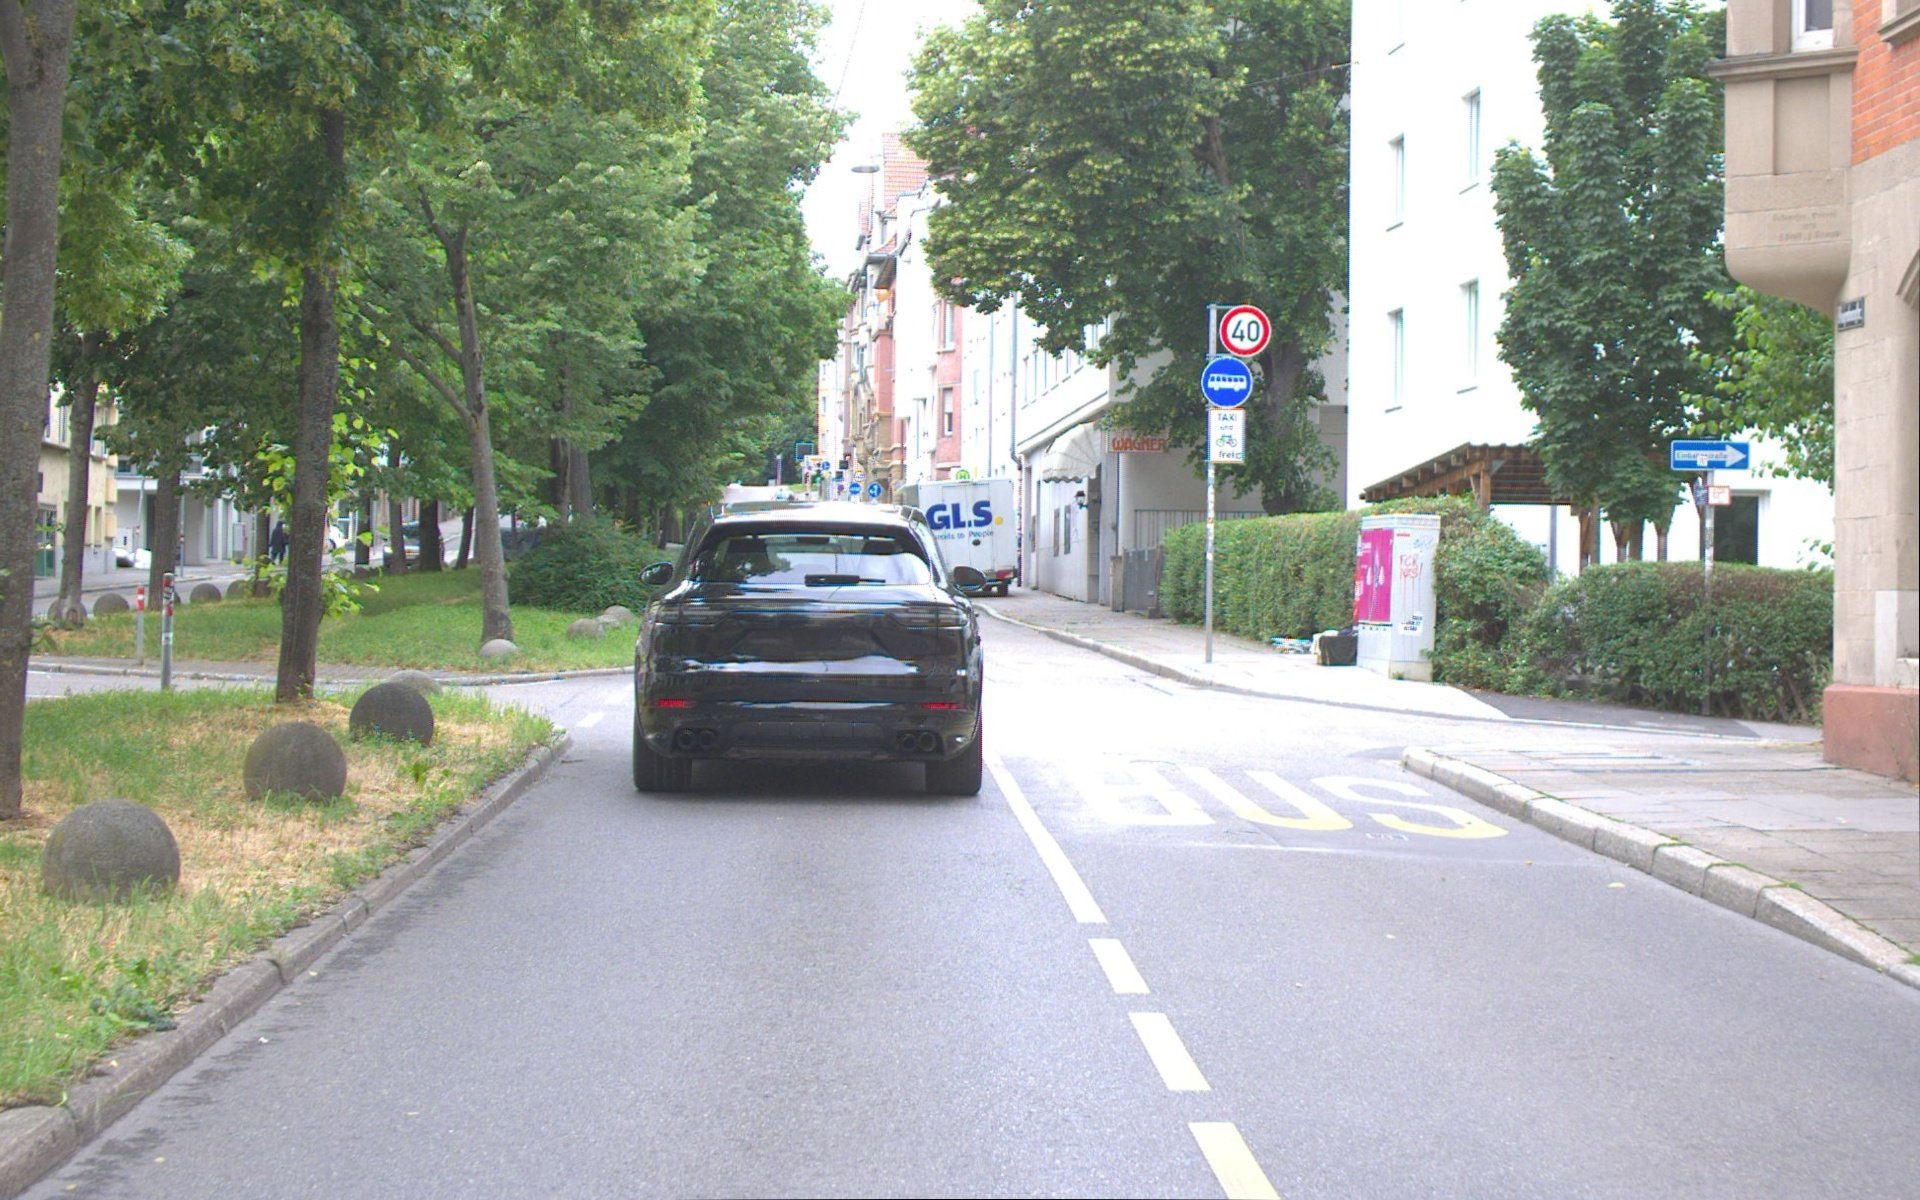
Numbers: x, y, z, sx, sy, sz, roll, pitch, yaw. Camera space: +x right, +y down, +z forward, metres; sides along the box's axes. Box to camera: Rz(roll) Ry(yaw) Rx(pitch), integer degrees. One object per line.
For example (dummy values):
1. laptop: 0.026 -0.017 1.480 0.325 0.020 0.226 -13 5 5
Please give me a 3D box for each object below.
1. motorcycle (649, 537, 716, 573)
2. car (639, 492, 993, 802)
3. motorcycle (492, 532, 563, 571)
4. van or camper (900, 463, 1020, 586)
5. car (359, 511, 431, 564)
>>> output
1. motorcycle: -9.866 -1.619 122.203 2.355 1.231 1.034 1 1 -5
2. car: -0.964 0.225 20.731 1.903 1.660 4.136 1 1 -5
3. motorcycle: -15.046 -1.705 119.563 2.382 1.312 1.046 1 1 -5
4. van or camper: -0.071 -1.800 83.067 2.480 2.793 7.239 1 1 -3
5. car: -19.377 -2.132 118.050 1.948 1.623 4.366 -5 1 -4
